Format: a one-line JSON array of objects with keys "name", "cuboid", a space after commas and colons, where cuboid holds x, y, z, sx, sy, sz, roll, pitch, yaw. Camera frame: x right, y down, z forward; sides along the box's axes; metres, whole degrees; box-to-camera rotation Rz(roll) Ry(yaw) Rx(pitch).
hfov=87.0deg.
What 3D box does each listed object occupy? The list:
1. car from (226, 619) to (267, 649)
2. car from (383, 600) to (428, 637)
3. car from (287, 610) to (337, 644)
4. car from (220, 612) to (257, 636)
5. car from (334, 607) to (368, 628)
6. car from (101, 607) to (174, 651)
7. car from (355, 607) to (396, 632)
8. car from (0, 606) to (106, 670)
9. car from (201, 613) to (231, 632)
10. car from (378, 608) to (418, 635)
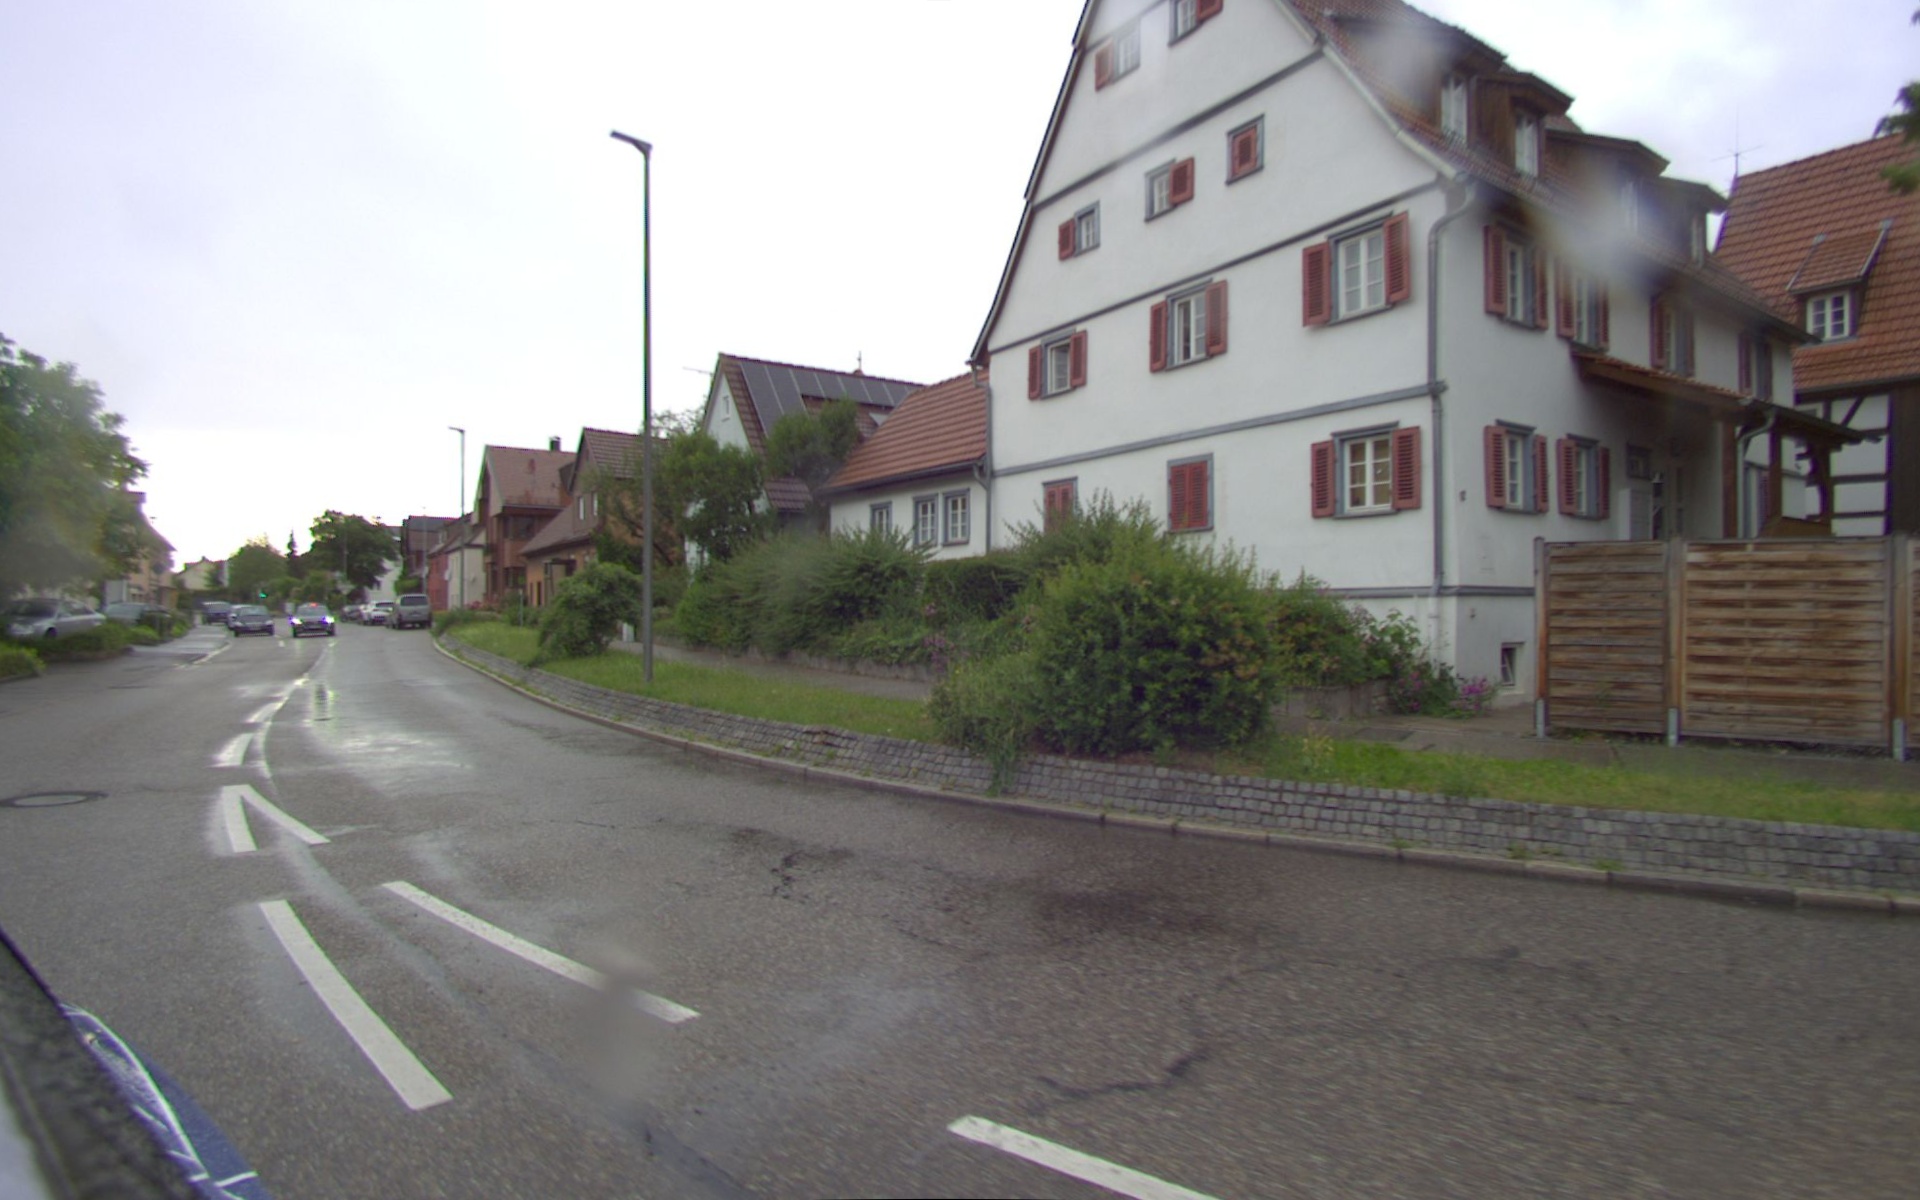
[{"name": "car", "cuboid": [-38.216, 1.797, 54.235, 1.759, 1.475, 4.010, 0, 0, -35]}, {"name": "car", "cuboid": [-31.873, 1.038, 58.110, 1.817, 1.937, 4.201, -2, 1, -35]}, {"name": "car", "cuboid": [-32.278, 1.305, 50.400, 1.966, 1.541, 4.011, -2, 0, -33]}, {"name": "car", "cuboid": [-48.117, 1.575, 67.549, 1.967, 1.541, 4.010, 0, -1, -35]}, {"name": "car", "cuboid": [-49.163, 1.407, 81.719, 1.784, 1.634, 4.007, 0, -1, -40]}, {"name": "car", "cuboid": [-33.427, 1.132, 41.243, 1.967, 1.666, 4.080, 0, 0, -34]}, {"name": "car", "cuboid": [-40.340, 1.323, 69.830, 1.784, 1.634, 4.007, 0, -1, -40]}, {"name": "car", "cuboid": [-26.921, 1.044, 29.248, 1.881, 1.724, 4.493, 0, 0, -18]}, {"name": "car", "cuboid": [-63.995, 1.891, 87.024, 1.968, 1.541, 4.008, -2, 0, -38]}, {"name": "car", "cuboid": [-34.623, 1.294, 62.276, 1.783, 1.586, 3.674, 0, 0, -35]}]
